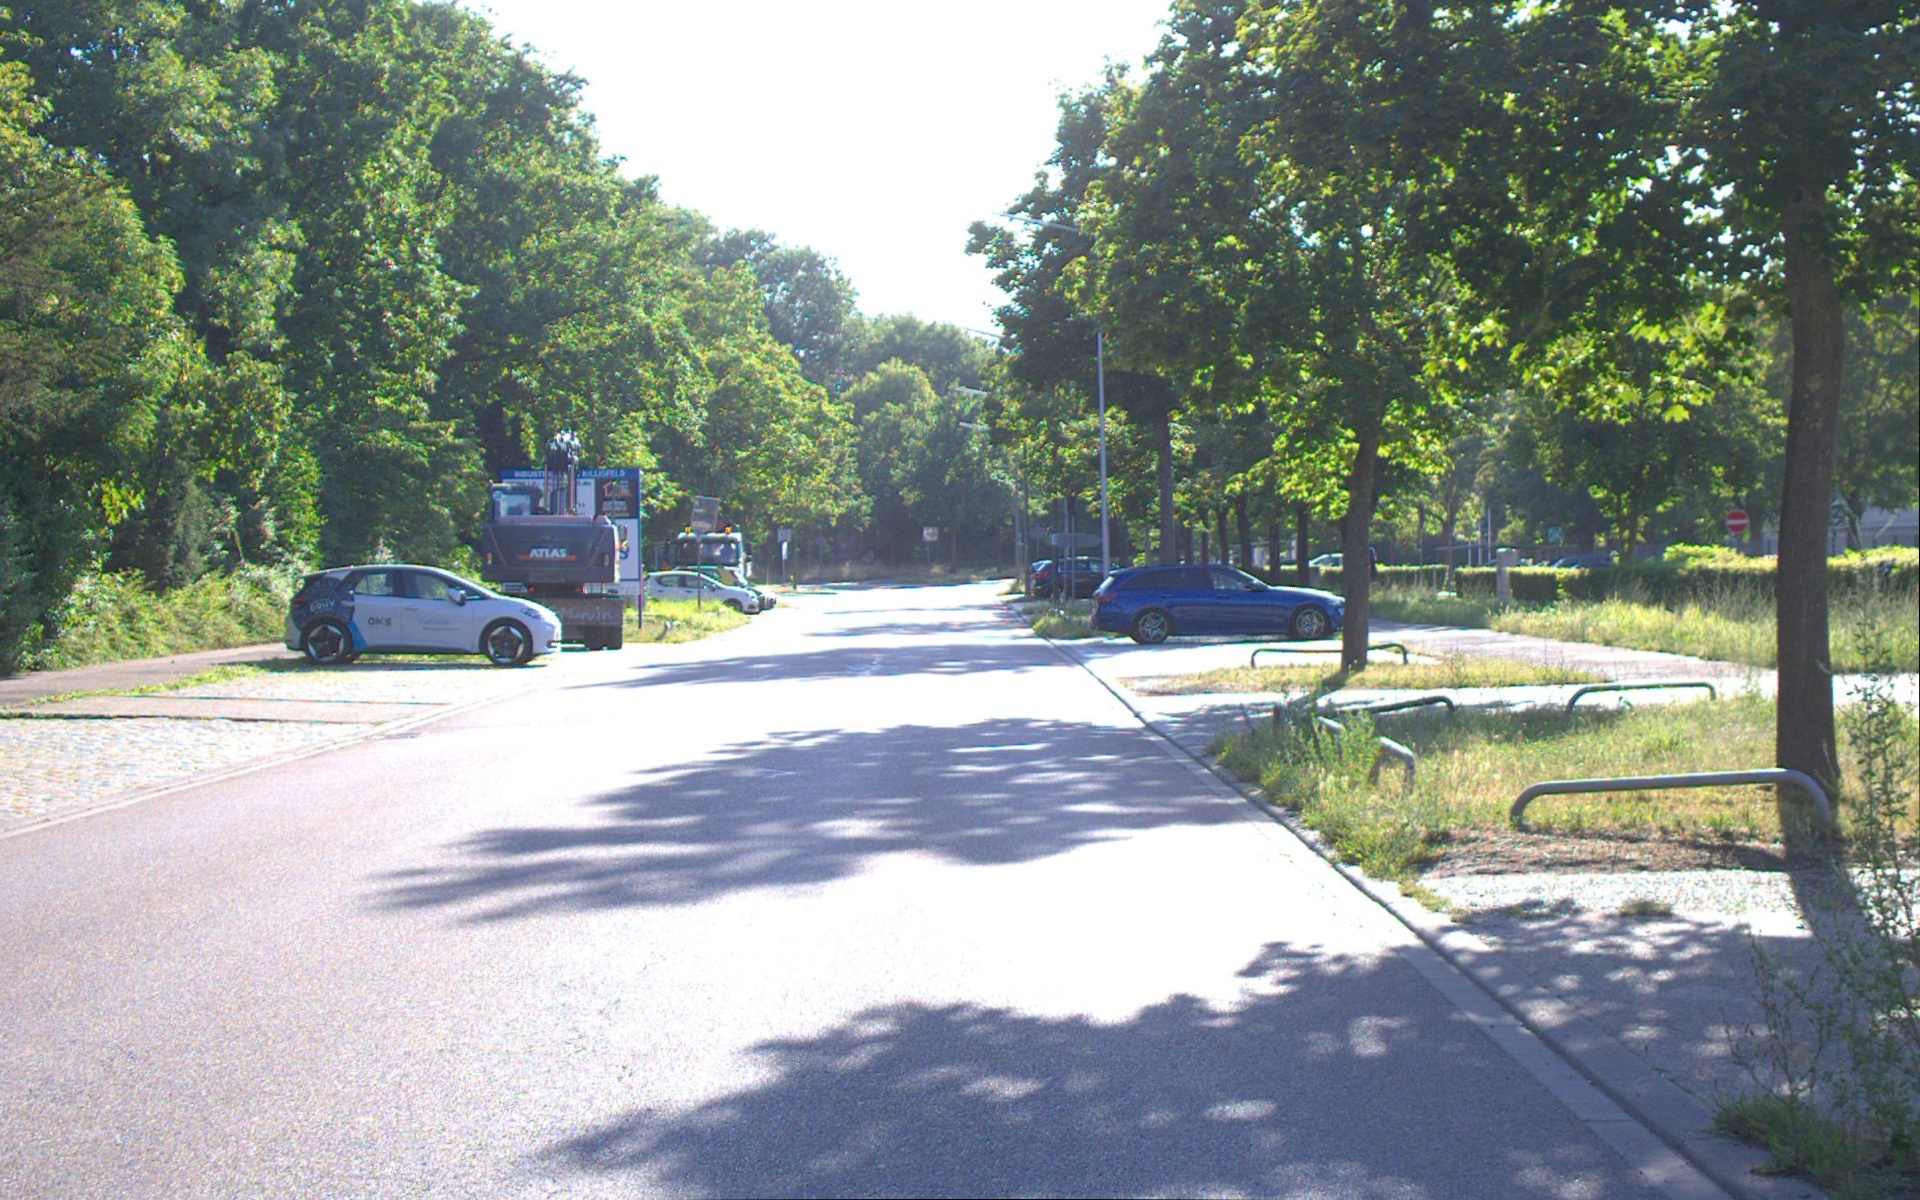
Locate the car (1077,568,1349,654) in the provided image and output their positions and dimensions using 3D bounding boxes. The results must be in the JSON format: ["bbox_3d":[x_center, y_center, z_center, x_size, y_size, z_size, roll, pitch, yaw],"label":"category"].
[{"bbox_3d":[4.590,0.186,62.991,4.841,1.474,2.000,-1,1,1],"label":"car"}]

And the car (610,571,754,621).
[{"bbox_3d":[-8.637,-0.128,106.473,4.357,1.474,2.000,-1,1,-6],"label":"car"}]

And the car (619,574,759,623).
[{"bbox_3d":[-8.623,-0.047,109.172,4.357,1.474,2.000,-1,0,-6],"label":"car"}]

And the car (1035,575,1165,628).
[{"bbox_3d":[4.840,0.056,118.957,4.358,1.723,2.000,1,0,-1],"label":"car"}]

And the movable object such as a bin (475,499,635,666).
[{"bbox_3d":[-7.758,-0.342,66.365,2.838,3.058,4.928,-1,0,-4],"label":"movable object such as a bin"}]

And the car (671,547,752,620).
[{"bbox_3d":[-8.404,-0.568,115.934,2.516,2.378,4.374,-1,0,-7],"label":"car"}]

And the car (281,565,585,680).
[{"bbox_3d":[-8.185,0.332,53.667,4.358,1.542,2.000,3,1,1],"label":"car"}]
